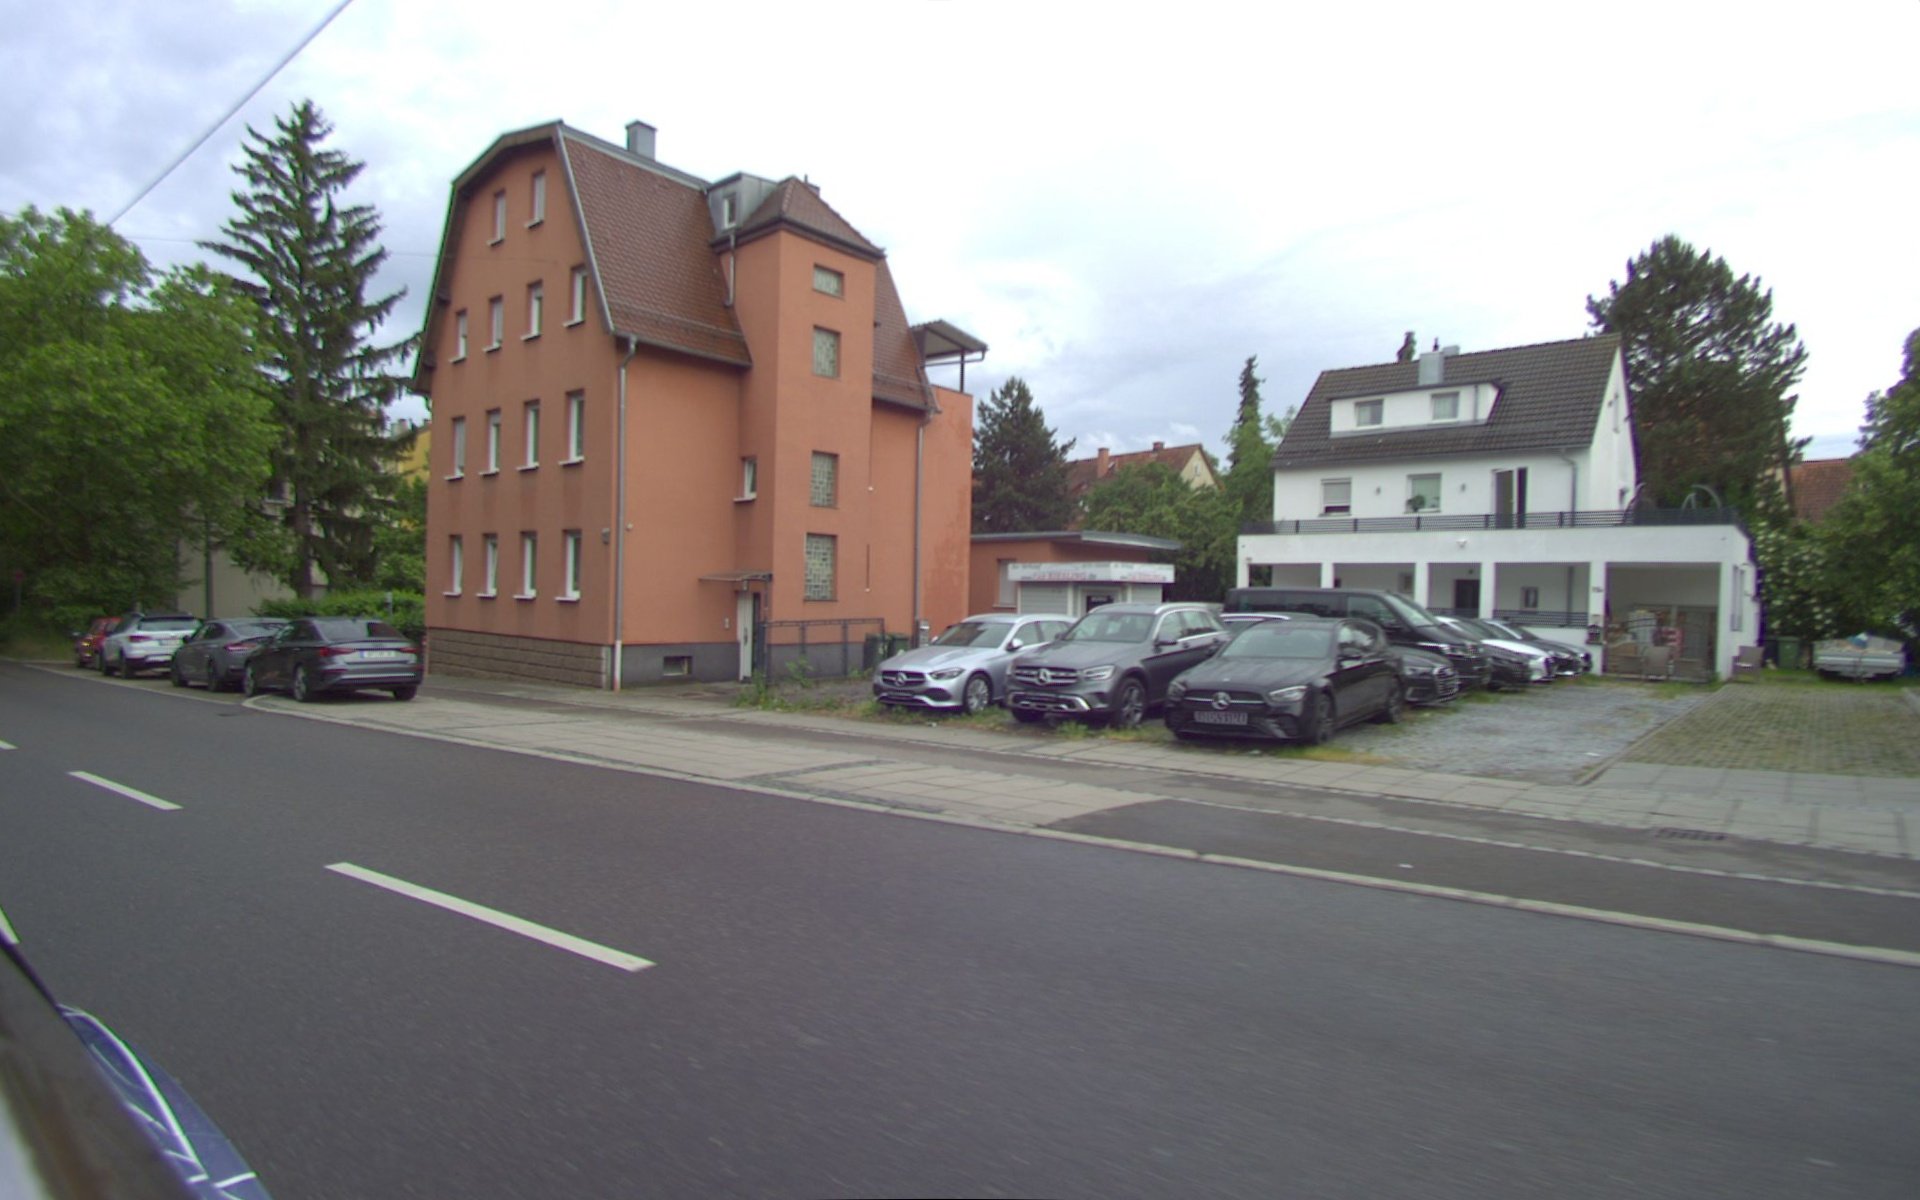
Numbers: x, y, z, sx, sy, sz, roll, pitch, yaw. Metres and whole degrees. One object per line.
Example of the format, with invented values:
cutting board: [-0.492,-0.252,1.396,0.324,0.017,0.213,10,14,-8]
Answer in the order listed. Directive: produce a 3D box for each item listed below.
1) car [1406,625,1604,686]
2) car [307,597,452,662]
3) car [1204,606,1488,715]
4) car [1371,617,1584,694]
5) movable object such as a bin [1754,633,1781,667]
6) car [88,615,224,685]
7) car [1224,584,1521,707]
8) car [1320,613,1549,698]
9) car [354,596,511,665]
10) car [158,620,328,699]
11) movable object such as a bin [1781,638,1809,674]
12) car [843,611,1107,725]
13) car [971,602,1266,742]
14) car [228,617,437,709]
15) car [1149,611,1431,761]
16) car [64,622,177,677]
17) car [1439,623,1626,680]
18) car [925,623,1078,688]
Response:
car: [12.895,1.275,24.064,3.873,1.333,1.642,-1,-2,41]
car: [-19.606,0.947,34.258,3.938,2.029,2.003,-1,0,-42]
car: [6.247,0.936,16.617,3.998,1.574,1.762,-1,-2,41]
car: [11.299,1.166,22.234,3.873,1.547,1.642,-1,-2,41]
movable object such as a bin: [25.801,1.590,32.340,0.634,1.051,0.798,-1,0,42]
car: [-19.711,1.205,24.756,4.196,1.558,1.793,-1,-5,41]
car: [7.594,0.813,18.934,4.762,2.029,1.973,-1,-2,41]
car: [9.461,1.063,20.350,3.873,1.547,1.642,-1,-2,41]
car: [-16.572,0.901,31.938,1.998,2.029,3.947,-1,0,39]
car: [-14.753,1.144,20.750,4.194,1.463,1.794,-1,-2,39]
movable object such as a bin: [26.041,1.742,31.576,0.634,1.051,0.798,-1,0,42]
car: [0.349,0.984,16.291,2.000,1.444,4.117,-1,0,43]
car: [2.470,0.916,14.923,2.153,1.620,4.482,-1,0,43]
car: [-11.031,1.057,17.696,4.193,1.421,1.767,-1,-3,38]
car: [4.316,0.943,12.881,1.895,1.475,4.082,-1,0,42]
car: [-23.766,1.348,28.611,4.196,1.444,1.793,-1,-2,41]
car: [14.456,1.255,25.657,3.873,1.333,1.642,-1,-2,41]
car: [1.078,1.293,24.795,1.802,1.444,3.840,-1,-2,40]
